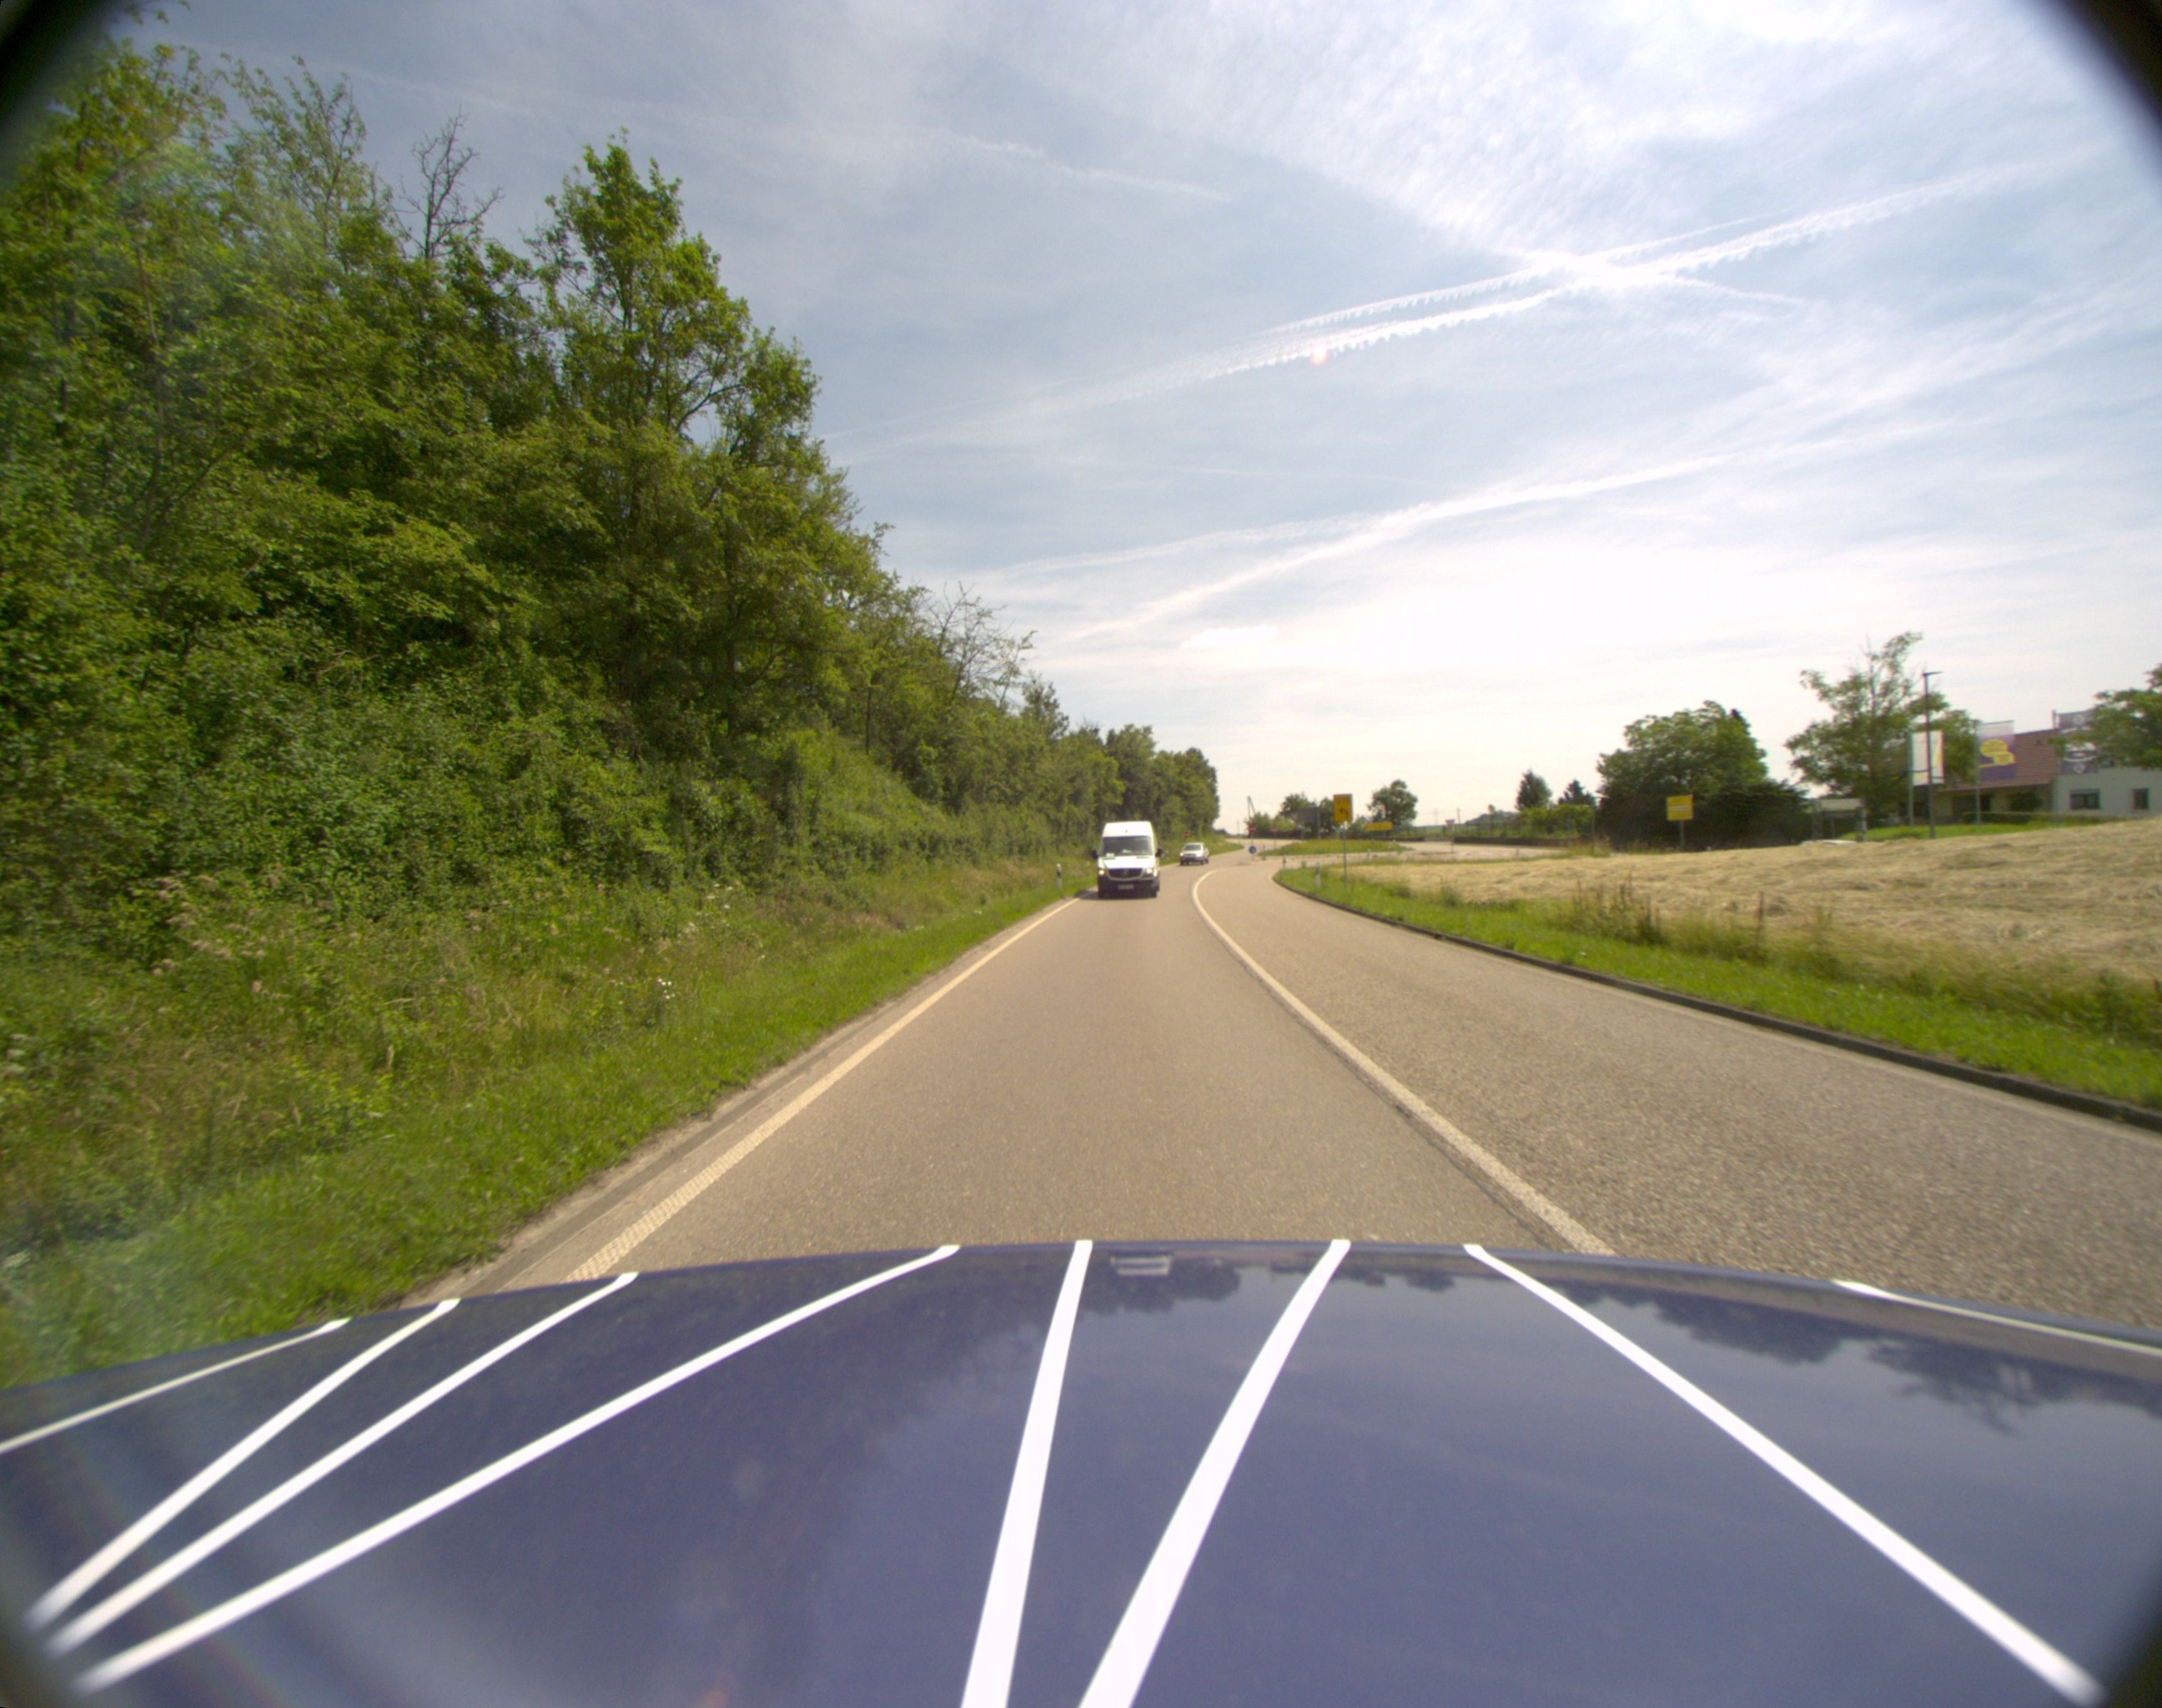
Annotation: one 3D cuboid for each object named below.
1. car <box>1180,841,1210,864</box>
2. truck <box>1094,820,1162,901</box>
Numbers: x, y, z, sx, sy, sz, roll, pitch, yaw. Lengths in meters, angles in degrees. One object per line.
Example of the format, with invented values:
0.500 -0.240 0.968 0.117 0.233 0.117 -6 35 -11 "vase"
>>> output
8.941 -0.126 59.184 1.847 1.698 4.093 -2 1 15 "car"
1.811 0.186 27.186 1.997 2.571 5.890 0 1 8 "truck"
